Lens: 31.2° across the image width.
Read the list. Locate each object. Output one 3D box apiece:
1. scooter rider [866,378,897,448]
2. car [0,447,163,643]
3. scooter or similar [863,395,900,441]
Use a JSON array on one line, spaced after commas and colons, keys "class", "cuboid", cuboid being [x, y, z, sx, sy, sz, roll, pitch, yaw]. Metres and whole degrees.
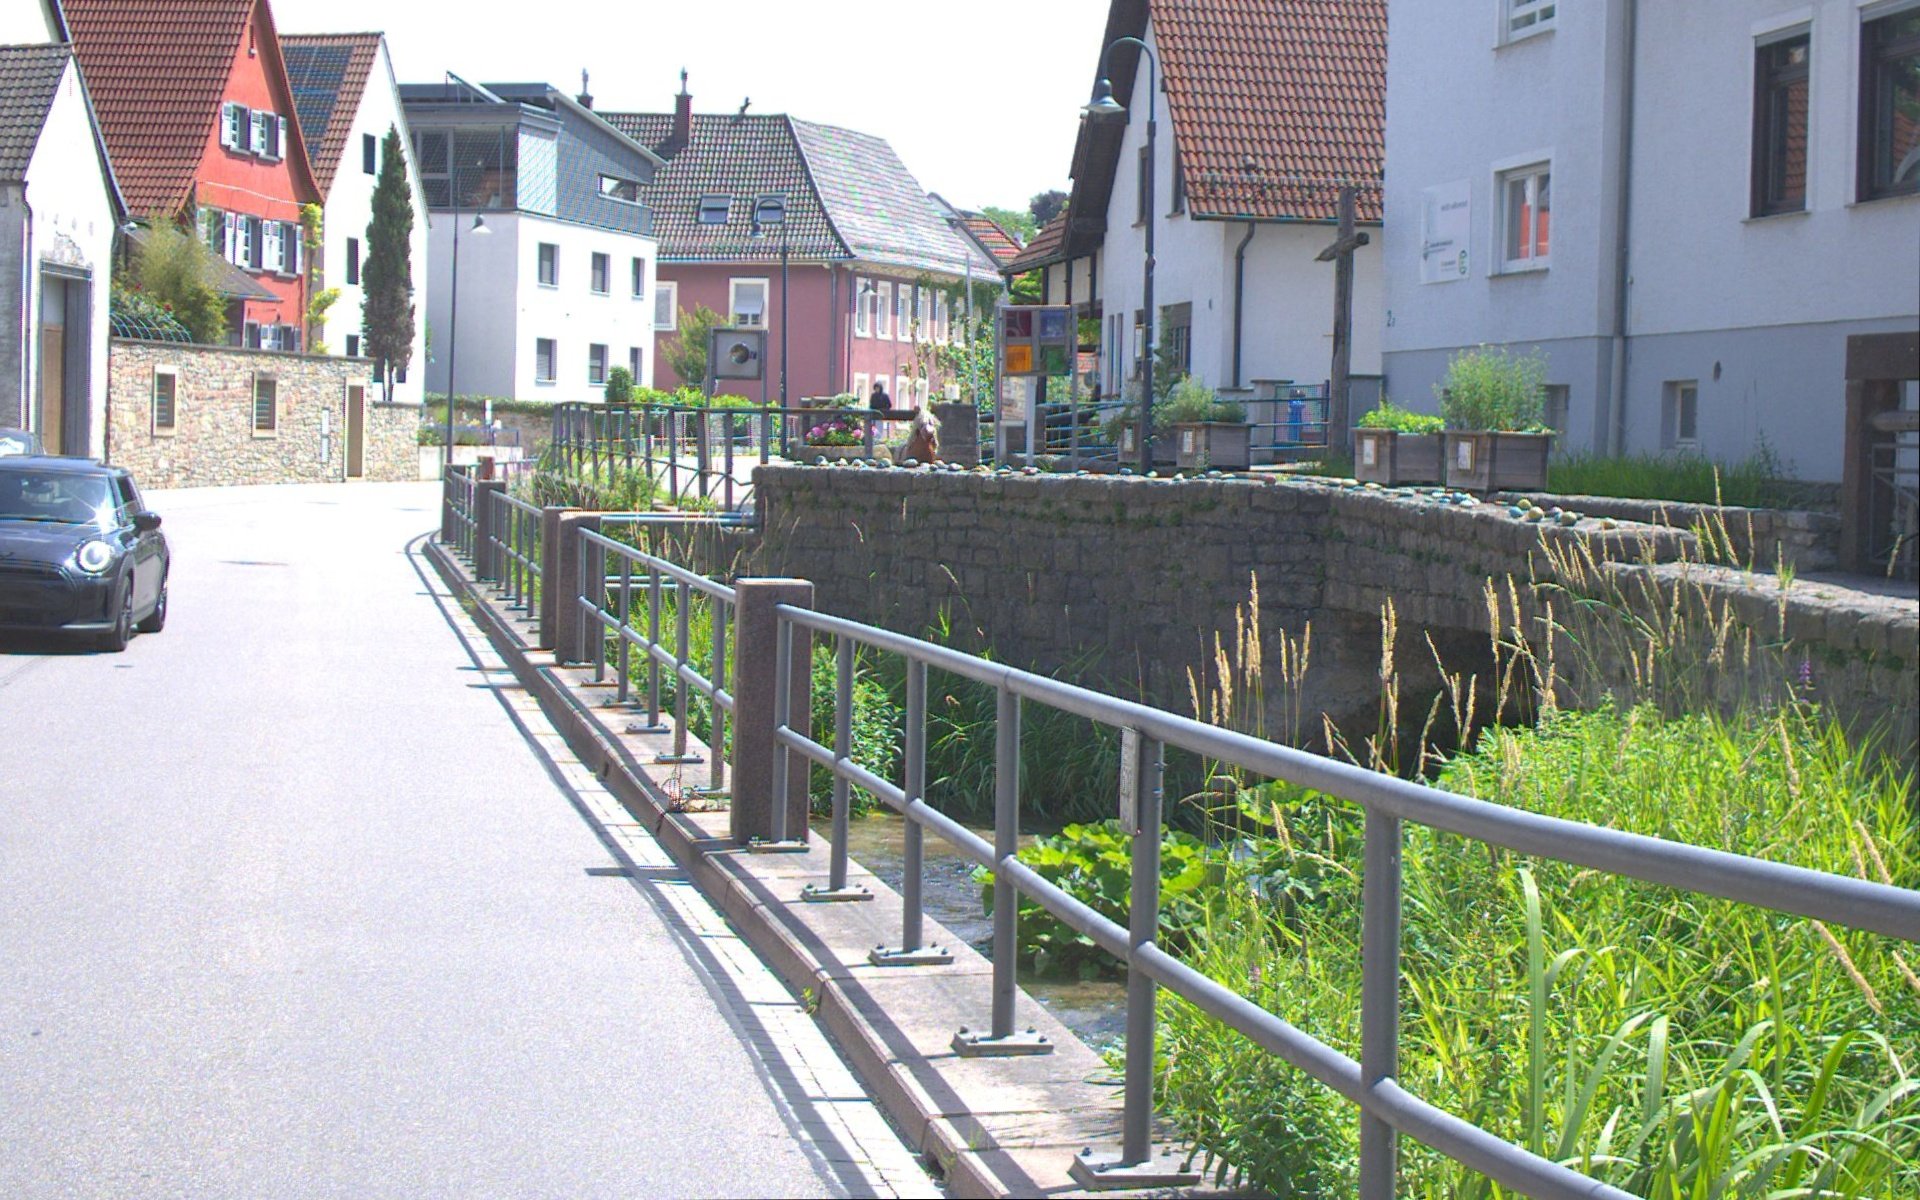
[{"class": "scooter rider", "cuboid": [-1.969, -4.668, 85.968, 0.641, 1.725, 0.554, 2, 2, -10]}, {"class": "car", "cuboid": [-7.381, -0.489, 27.810, 1.698, 1.460, 4.437, 0, 2, -12]}, {"class": "scooter or similar", "cuboid": [-1.961, -4.550, 85.913, 0.641, 1.138, 1.812, 0, 3, -10]}]
